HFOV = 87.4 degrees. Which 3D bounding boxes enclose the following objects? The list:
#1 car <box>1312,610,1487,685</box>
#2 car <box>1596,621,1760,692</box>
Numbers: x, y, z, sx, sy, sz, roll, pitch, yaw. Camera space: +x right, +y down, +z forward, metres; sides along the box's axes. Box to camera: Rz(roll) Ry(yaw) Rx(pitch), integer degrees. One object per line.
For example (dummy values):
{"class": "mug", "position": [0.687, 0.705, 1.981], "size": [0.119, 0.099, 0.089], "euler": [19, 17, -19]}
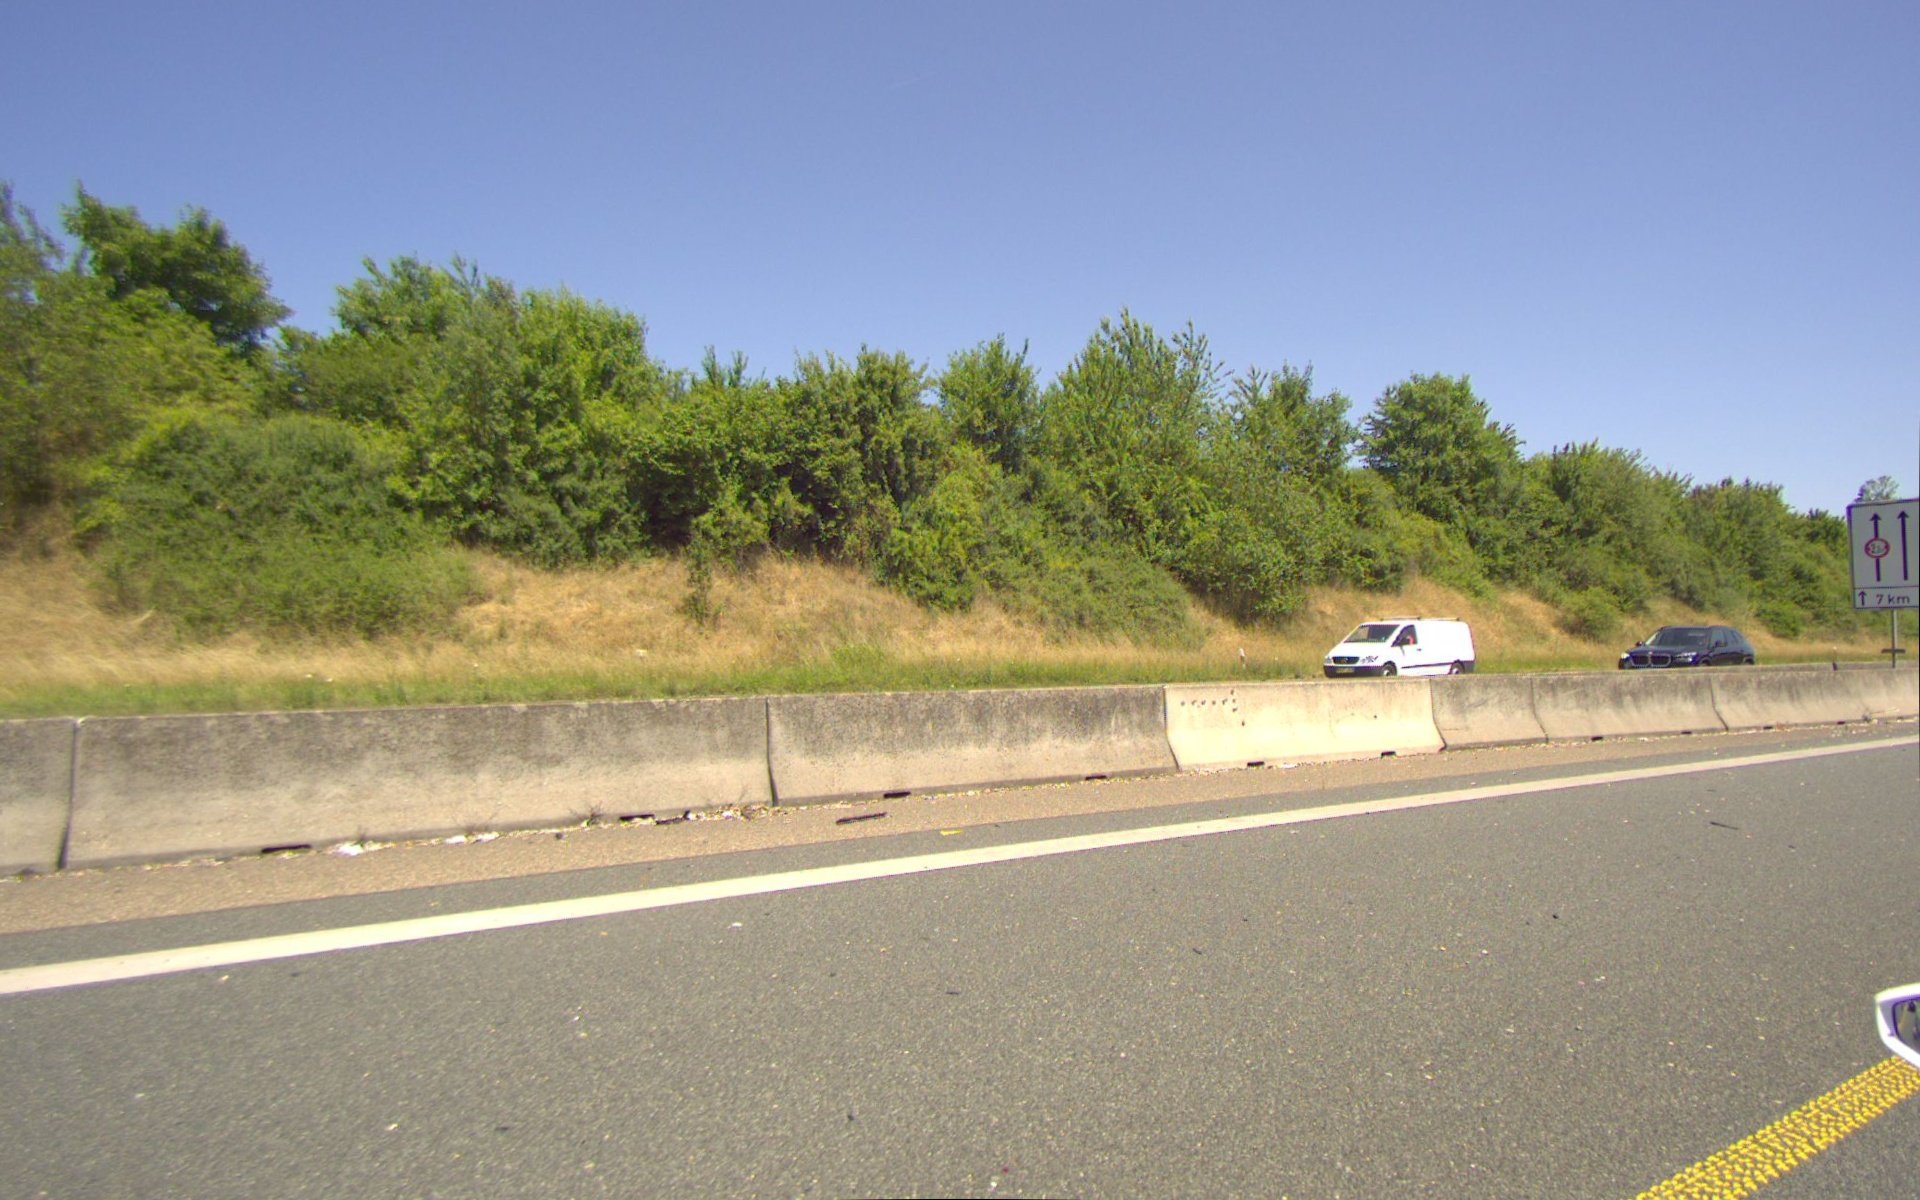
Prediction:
{"class": "car", "position": [13.064, 1.382, 29.751], "size": [5.532, 2.040, 1.921], "euler": [1, -2, -31]}
{"class": "car", "position": [18.825, 1.441, 26.304], "size": [4.445, 1.716, 1.864], "euler": [1, -2, -30]}
